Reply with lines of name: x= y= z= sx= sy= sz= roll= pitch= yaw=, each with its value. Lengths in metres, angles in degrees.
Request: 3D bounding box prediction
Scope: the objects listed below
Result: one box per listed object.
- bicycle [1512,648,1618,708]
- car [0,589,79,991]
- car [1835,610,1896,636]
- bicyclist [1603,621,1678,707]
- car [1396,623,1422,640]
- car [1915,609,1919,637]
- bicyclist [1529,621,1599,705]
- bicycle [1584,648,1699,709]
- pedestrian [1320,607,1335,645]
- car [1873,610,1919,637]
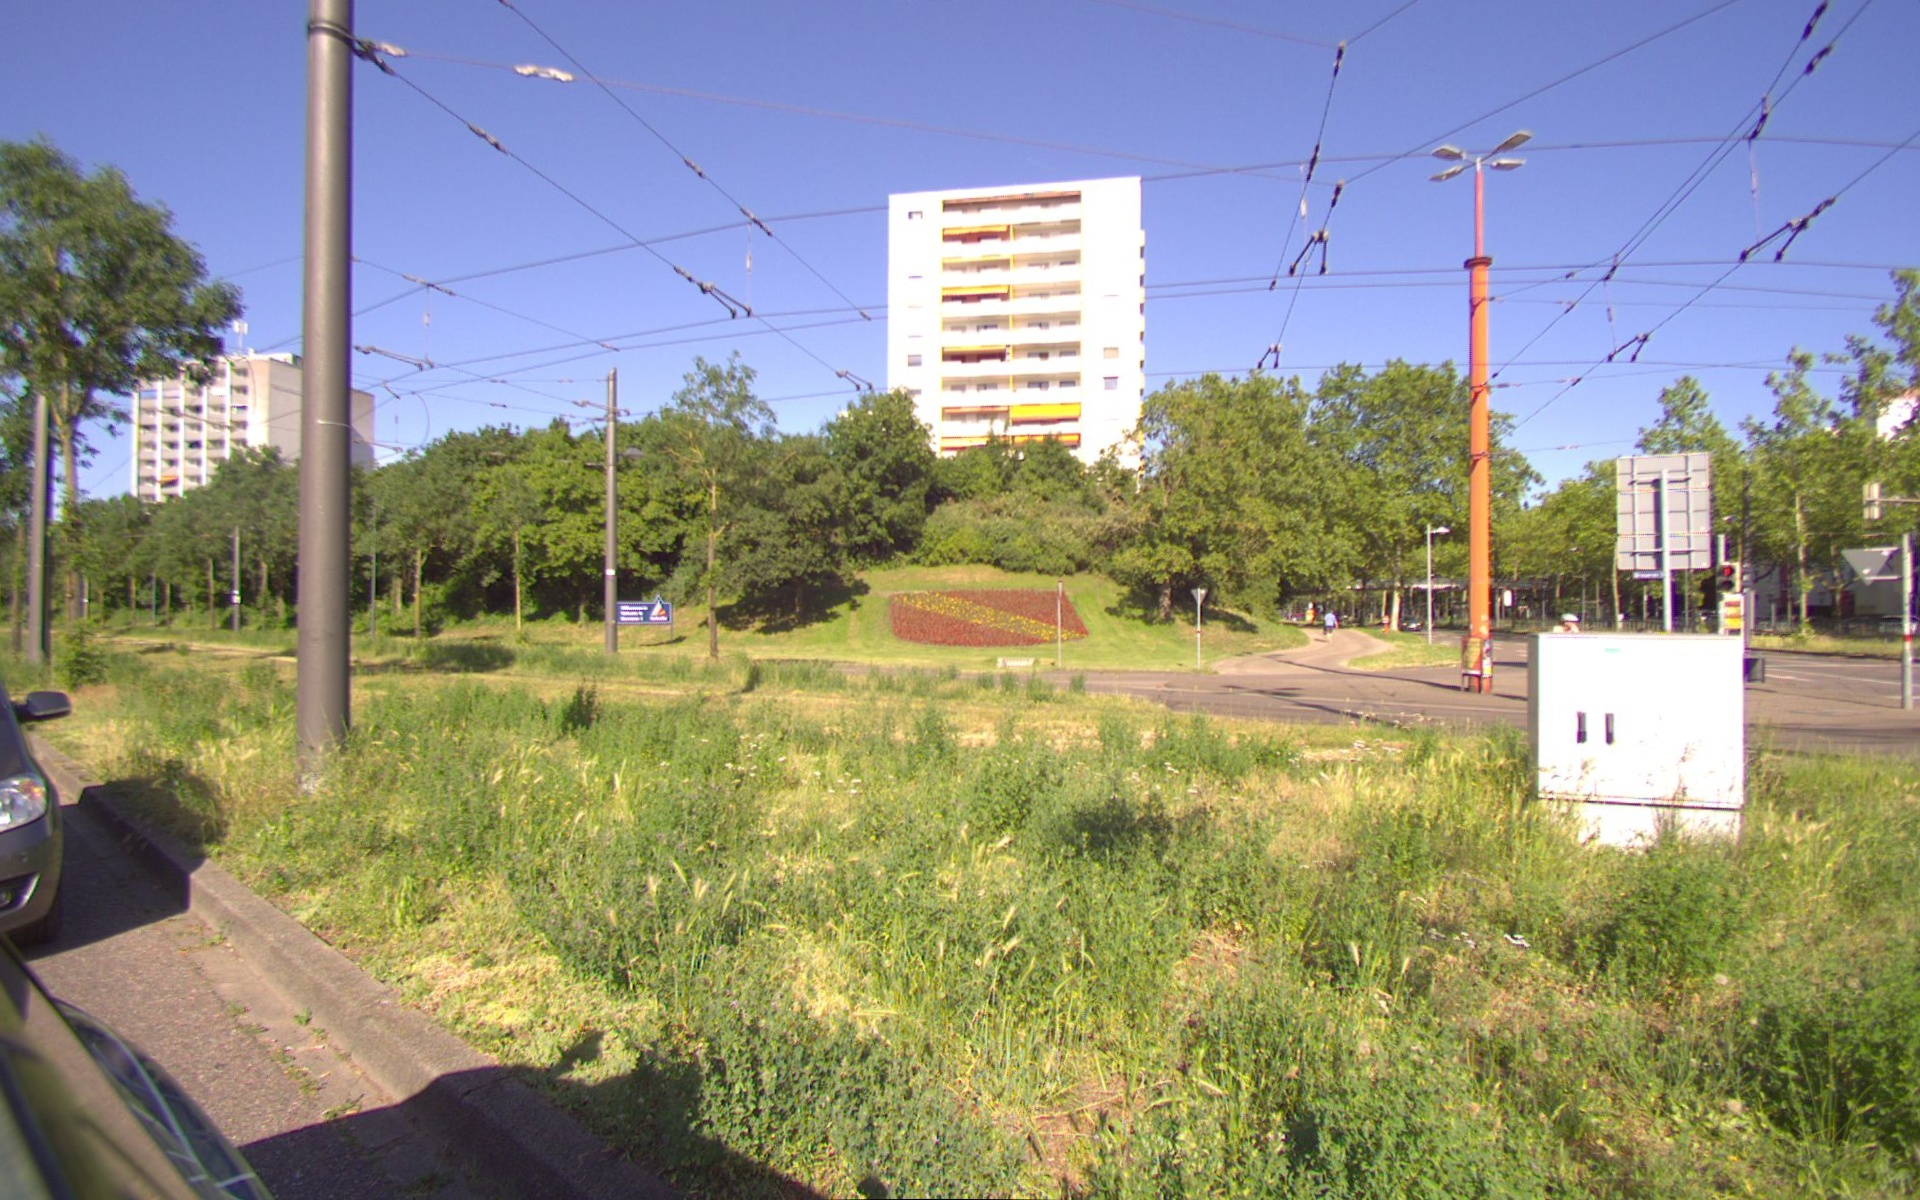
bicycle: x=12.096 y=1.529 z=20.316 sx=0.915 sy=1.095 sz=1.888 roll=0 pitch=-1 yaw=-2
car: x=-5.936 y=0.791 z=5.041 sx=4.382 sy=1.619 sz=1.754 roll=-1 pitch=-2 yaw=41
car: x=66.021 y=1.692 z=73.759 sx=3.931 sy=1.829 sz=2.006 roll=1 pitch=-2 yaw=-27
bicyclist: x=13.358 y=1.234 z=19.880 sx=0.920 sy=1.650 sz=0.741 roll=0 pitch=-1 yaw=-1
car: x=43.905 y=3.058 z=99.005 sx=1.928 sy=1.606 sz=3.882 roll=-1 pitch=-1 yaw=20
car: x=64.411 y=1.499 z=65.900 sx=3.931 sy=1.829 sz=2.006 roll=1 pitch=-2 yaw=-27
bicyclist: x=12.101 y=1.251 z=20.299 sx=0.920 sy=1.650 sz=0.741 roll=0 pitch=-1 yaw=-1
bicycle: x=13.362 y=1.514 z=19.914 sx=0.915 sy=1.095 sz=1.888 roll=0 pitch=-1 yaw=-2
pedestrian: x=19.437 y=1.376 z=53.524 sx=0.729 sy=1.949 sz=0.726 roll=-1 pitch=-2 yaw=24
car: x=65.254 y=1.636 z=69.863 sx=3.931 sy=1.829 sz=2.006 roll=1 pitch=-2 yaw=-27
